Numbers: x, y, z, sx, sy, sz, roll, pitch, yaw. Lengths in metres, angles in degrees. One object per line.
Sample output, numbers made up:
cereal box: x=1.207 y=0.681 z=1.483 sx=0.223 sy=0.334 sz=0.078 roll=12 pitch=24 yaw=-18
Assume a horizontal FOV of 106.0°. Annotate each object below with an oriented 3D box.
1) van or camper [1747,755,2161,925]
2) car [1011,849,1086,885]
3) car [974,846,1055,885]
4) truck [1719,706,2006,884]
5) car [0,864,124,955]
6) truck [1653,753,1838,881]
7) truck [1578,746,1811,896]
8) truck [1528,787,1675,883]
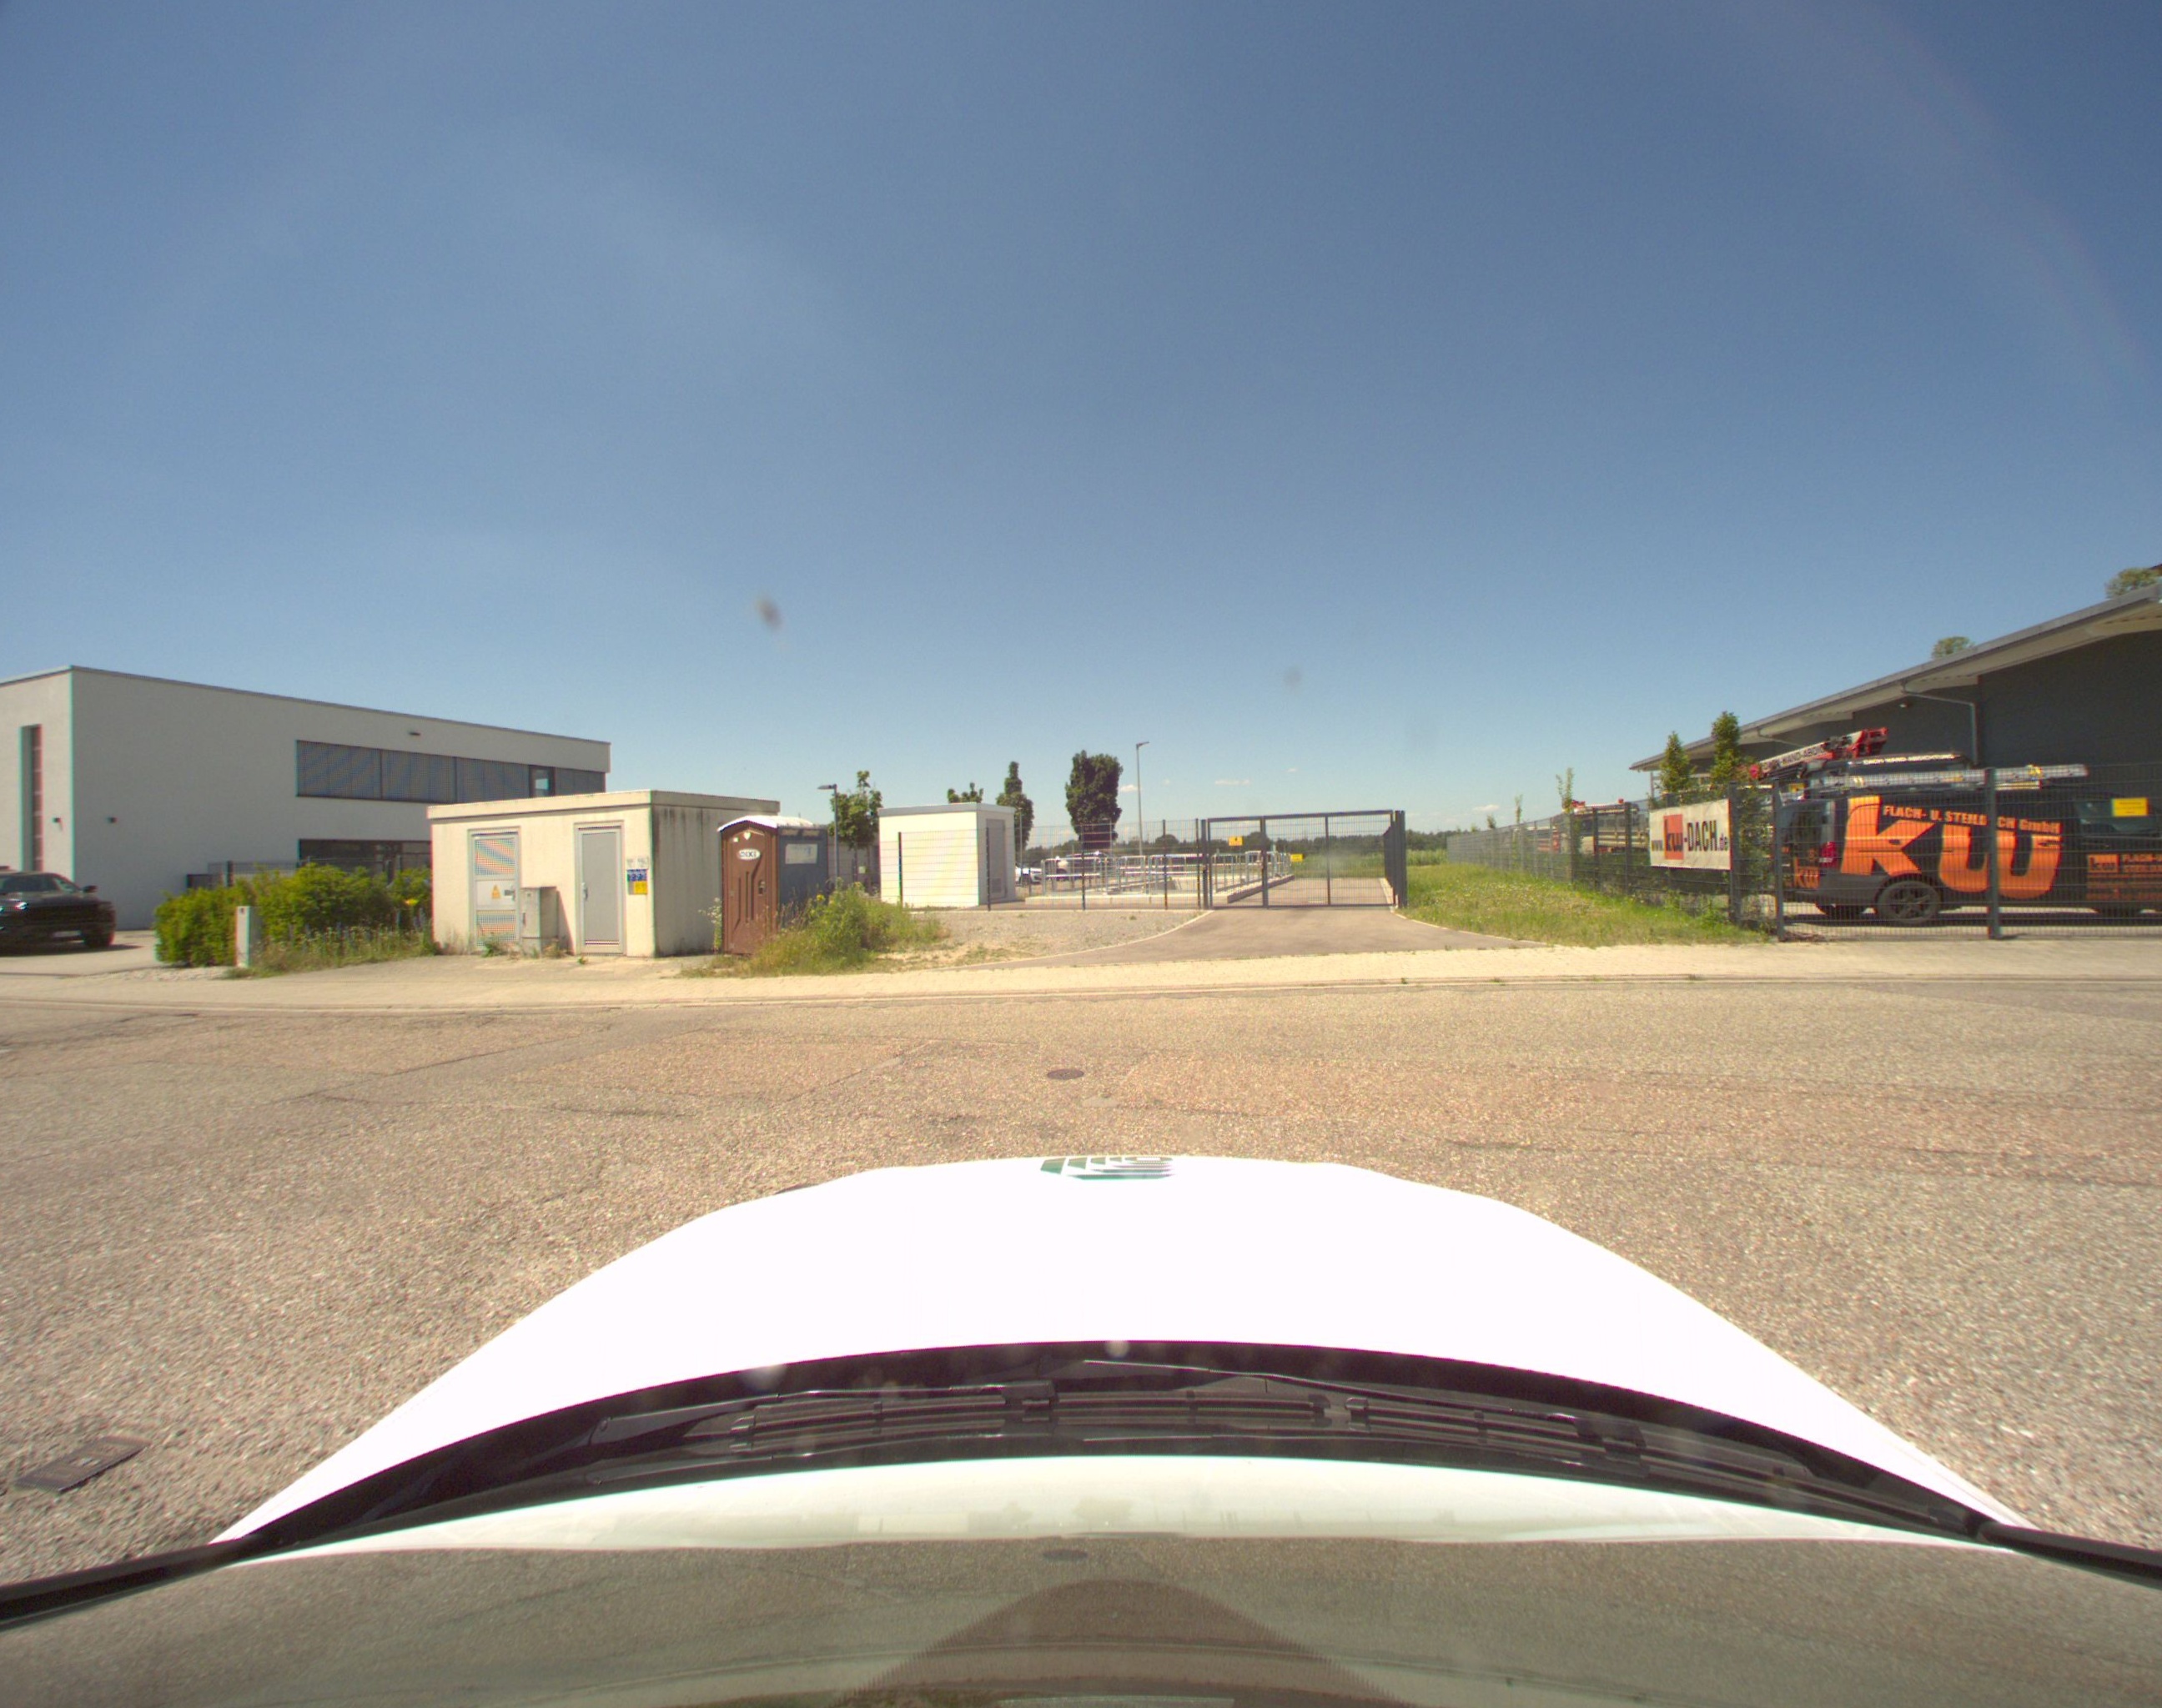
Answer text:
van or camper: x=13.096 y=-0.170 z=11.797 sx=4.895 sy=2.163 sz=2.010 roll=-2 pitch=0 yaw=20
car: x=-1.966 y=0.806 z=49.246 sx=3.953 sy=2.013 sz=2.010 roll=-2 pitch=0 yaw=21
car: x=-3.722 y=0.646 z=45.554 sx=3.953 sy=2.013 sz=2.010 roll=-2 pitch=0 yaw=21
truck: x=20.429 y=-1.322 z=21.983 sx=2.897 sy=3.929 sz=6.971 roll=-2 pitch=-1 yaw=20
car: x=-25.975 y=1.342 z=19.830 sx=3.955 sy=2.013 sz=2.009 roll=-2 pitch=-1 yaw=17
truck: x=23.324 y=-1.143 z=29.112 sx=2.897 sy=3.929 sz=6.971 roll=-2 pitch=-1 yaw=20
truck: x=15.029 y=-0.680 z=20.648 sx=2.704 sy=3.062 sz=6.971 roll=-2 pitch=-1 yaw=20
truck: x=18.240 y=-0.586 z=29.076 sx=2.897 sy=2.938 sz=6.971 roll=-2 pitch=-1 yaw=20
